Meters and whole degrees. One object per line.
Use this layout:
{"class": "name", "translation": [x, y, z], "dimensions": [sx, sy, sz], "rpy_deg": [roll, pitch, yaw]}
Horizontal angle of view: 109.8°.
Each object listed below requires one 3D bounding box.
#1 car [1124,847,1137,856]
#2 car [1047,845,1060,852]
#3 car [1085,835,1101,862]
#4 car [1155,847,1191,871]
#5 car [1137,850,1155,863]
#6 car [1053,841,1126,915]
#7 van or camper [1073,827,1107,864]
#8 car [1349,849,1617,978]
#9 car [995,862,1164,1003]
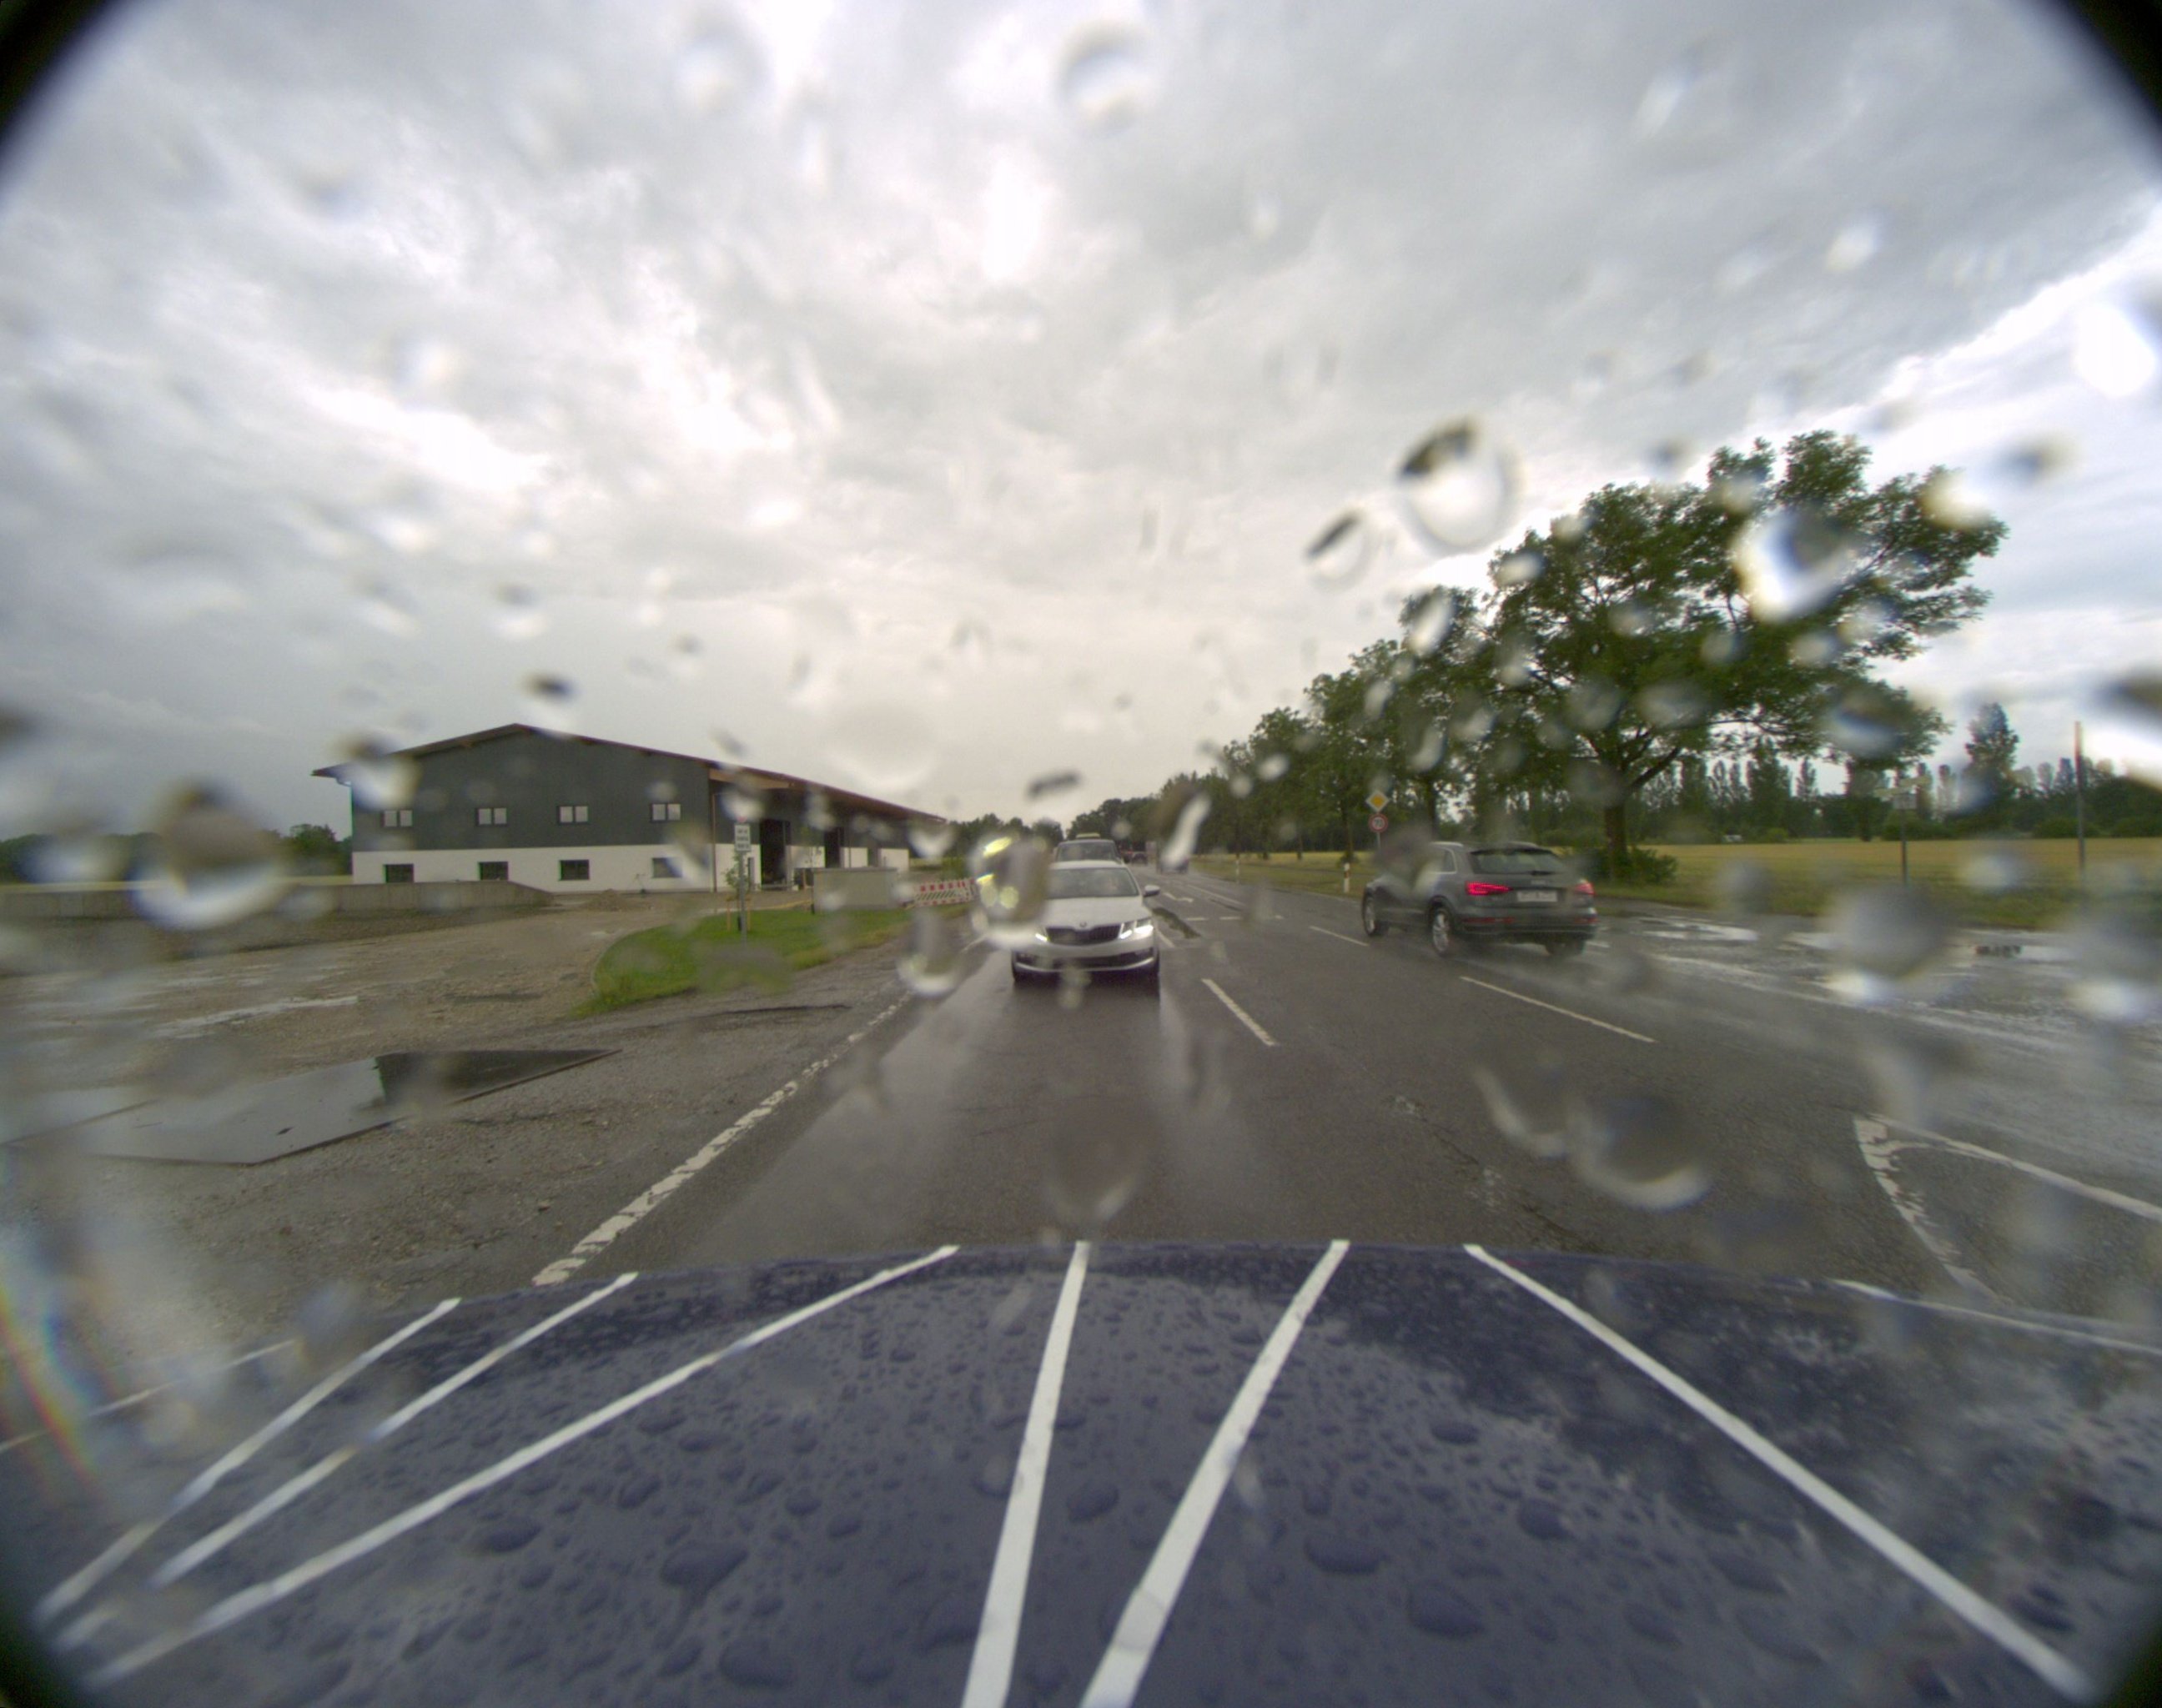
{"class": "car", "translation": [7.967, -0.380, 122.721], "dimensions": [1.770, 1.429, 4.413], "rpy_deg": [-1, 1, 0]}
{"class": "car", "translation": [-7.627, -1.489, 210.265], "dimensions": [2.002, 2.002, 3.992], "rpy_deg": [-2, 0, -24]}
{"class": "car", "translation": [1.430, -0.638, 92.680], "dimensions": [1.771, 3.134, 4.027], "rpy_deg": [-2, 1, 0]}
{"class": "car", "translation": [6.312, 0.300, 52.506], "dimensions": [1.949, 1.571, 4.443], "rpy_deg": [0, 0, 0]}
{"class": "car", "translation": [6.906, 0.245, 81.264], "dimensions": [1.716, 1.397, 3.814], "rpy_deg": [0, 0, 2]}
{"class": "car", "translation": [0.258, 0.598, 21.946], "dimensions": [1.841, 1.888, 4.575], "rpy_deg": [-2, 1, 1]}
{"class": "van or camper", "translation": [0.984, -0.924, 81.204], "dimensions": [3.342, 3.624, 8.372], "rpy_deg": [-2, 1, 1]}
{"class": "car", "translation": [5.524, 0.699, 11.132], "dimensions": [1.773, 1.514, 4.141], "rpy_deg": [-1, 0, 1]}
{"class": "car", "translation": [0.024, 0.868, 10.406], "dimensions": [1.770, 1.365, 4.575], "rpy_deg": [-2, 1, 1]}
